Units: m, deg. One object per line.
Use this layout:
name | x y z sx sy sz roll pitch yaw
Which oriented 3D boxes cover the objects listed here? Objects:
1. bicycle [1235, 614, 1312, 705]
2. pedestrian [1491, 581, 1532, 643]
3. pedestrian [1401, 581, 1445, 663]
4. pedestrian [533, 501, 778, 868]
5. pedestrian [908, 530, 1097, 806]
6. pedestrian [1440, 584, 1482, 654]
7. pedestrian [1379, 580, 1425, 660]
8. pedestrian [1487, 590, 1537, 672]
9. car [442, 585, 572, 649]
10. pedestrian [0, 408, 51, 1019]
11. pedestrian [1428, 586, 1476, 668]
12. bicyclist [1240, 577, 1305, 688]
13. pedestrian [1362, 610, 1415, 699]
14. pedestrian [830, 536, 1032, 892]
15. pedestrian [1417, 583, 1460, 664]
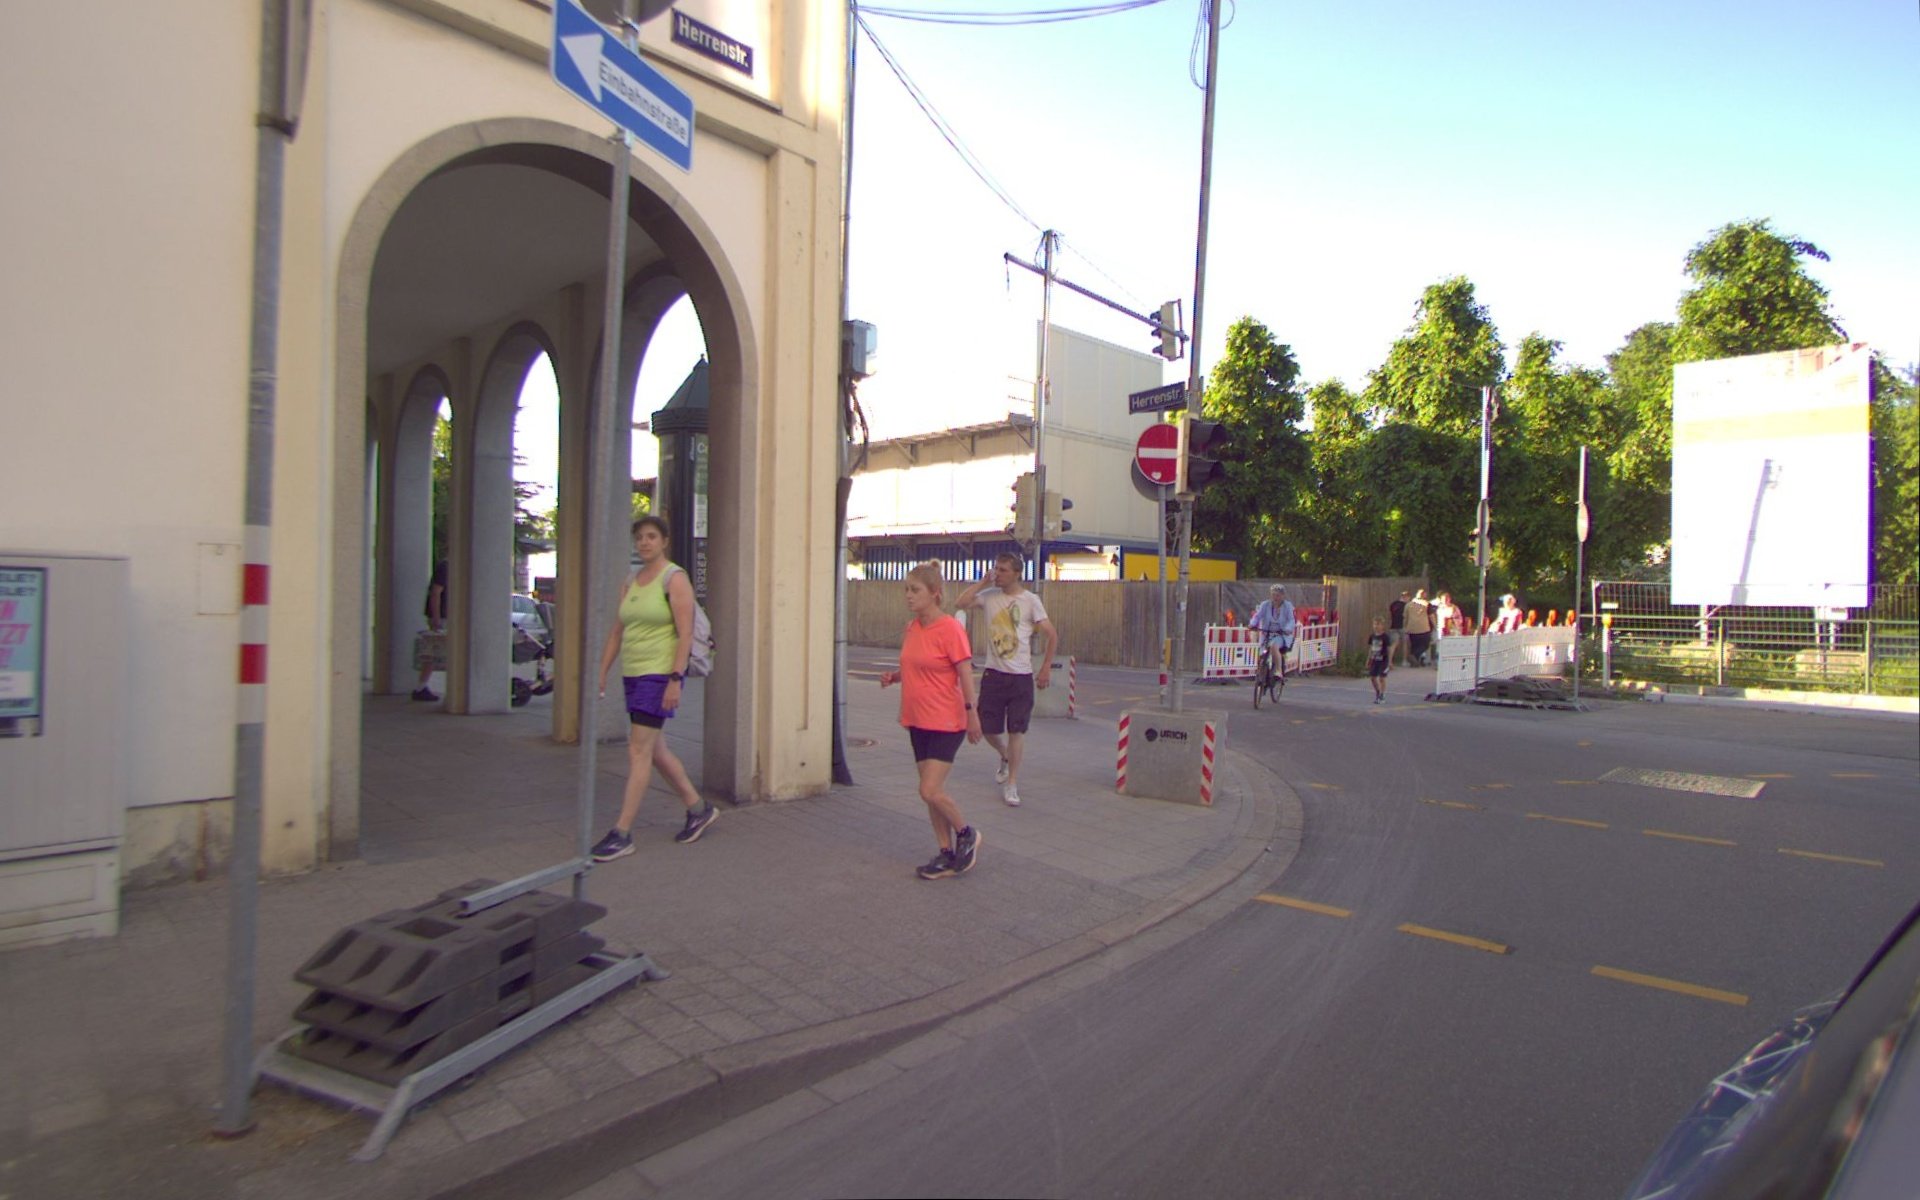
bicycle | 4.527 0.812 14.533 0.474 1.216 1.974 1 0 34
pedestrian | 13.640 0.285 25.040 0.758 1.480 0.664 -1 2 -43
pedestrian | 10.133 0.458 22.145 0.727 1.737 0.620 -1 2 -43
pedestrian | -1.596 0.386 5.341 0.673 1.731 0.952 5 2 43
pedestrian | 0.303 0.422 7.092 0.796 1.749 0.962 5 3 43
pedestrian | 12.050 0.436 24.353 0.758 1.639 0.664 -1 2 -43
pedestrian | 10.139 0.433 23.231 0.727 1.793 0.722 -1 2 -43
pedestrian | 11.049 0.594 20.254 0.732 1.585 0.665 -1 2 -42
car | -11.660 0.444 25.928 1.897 1.485 3.992 3 -2 -42
pedestrian | -3.314 0.316 2.940 0.709 1.799 0.926 5 3 43
pedestrian | 10.084 0.544 20.741 0.727 1.624 0.642 -1 2 -43
bicyclist | 4.460 0.449 14.452 0.682 1.535 0.695 1 0 36
pedestrian | 6.543 0.826 15.450 0.609 1.316 0.492 4 -2 -44
pedestrian | -0.144 0.525 5.163 0.618 1.644 0.715 5 2 43
pedestrian | 10.780 0.511 22.804 0.727 1.793 0.620 -1 2 -43
